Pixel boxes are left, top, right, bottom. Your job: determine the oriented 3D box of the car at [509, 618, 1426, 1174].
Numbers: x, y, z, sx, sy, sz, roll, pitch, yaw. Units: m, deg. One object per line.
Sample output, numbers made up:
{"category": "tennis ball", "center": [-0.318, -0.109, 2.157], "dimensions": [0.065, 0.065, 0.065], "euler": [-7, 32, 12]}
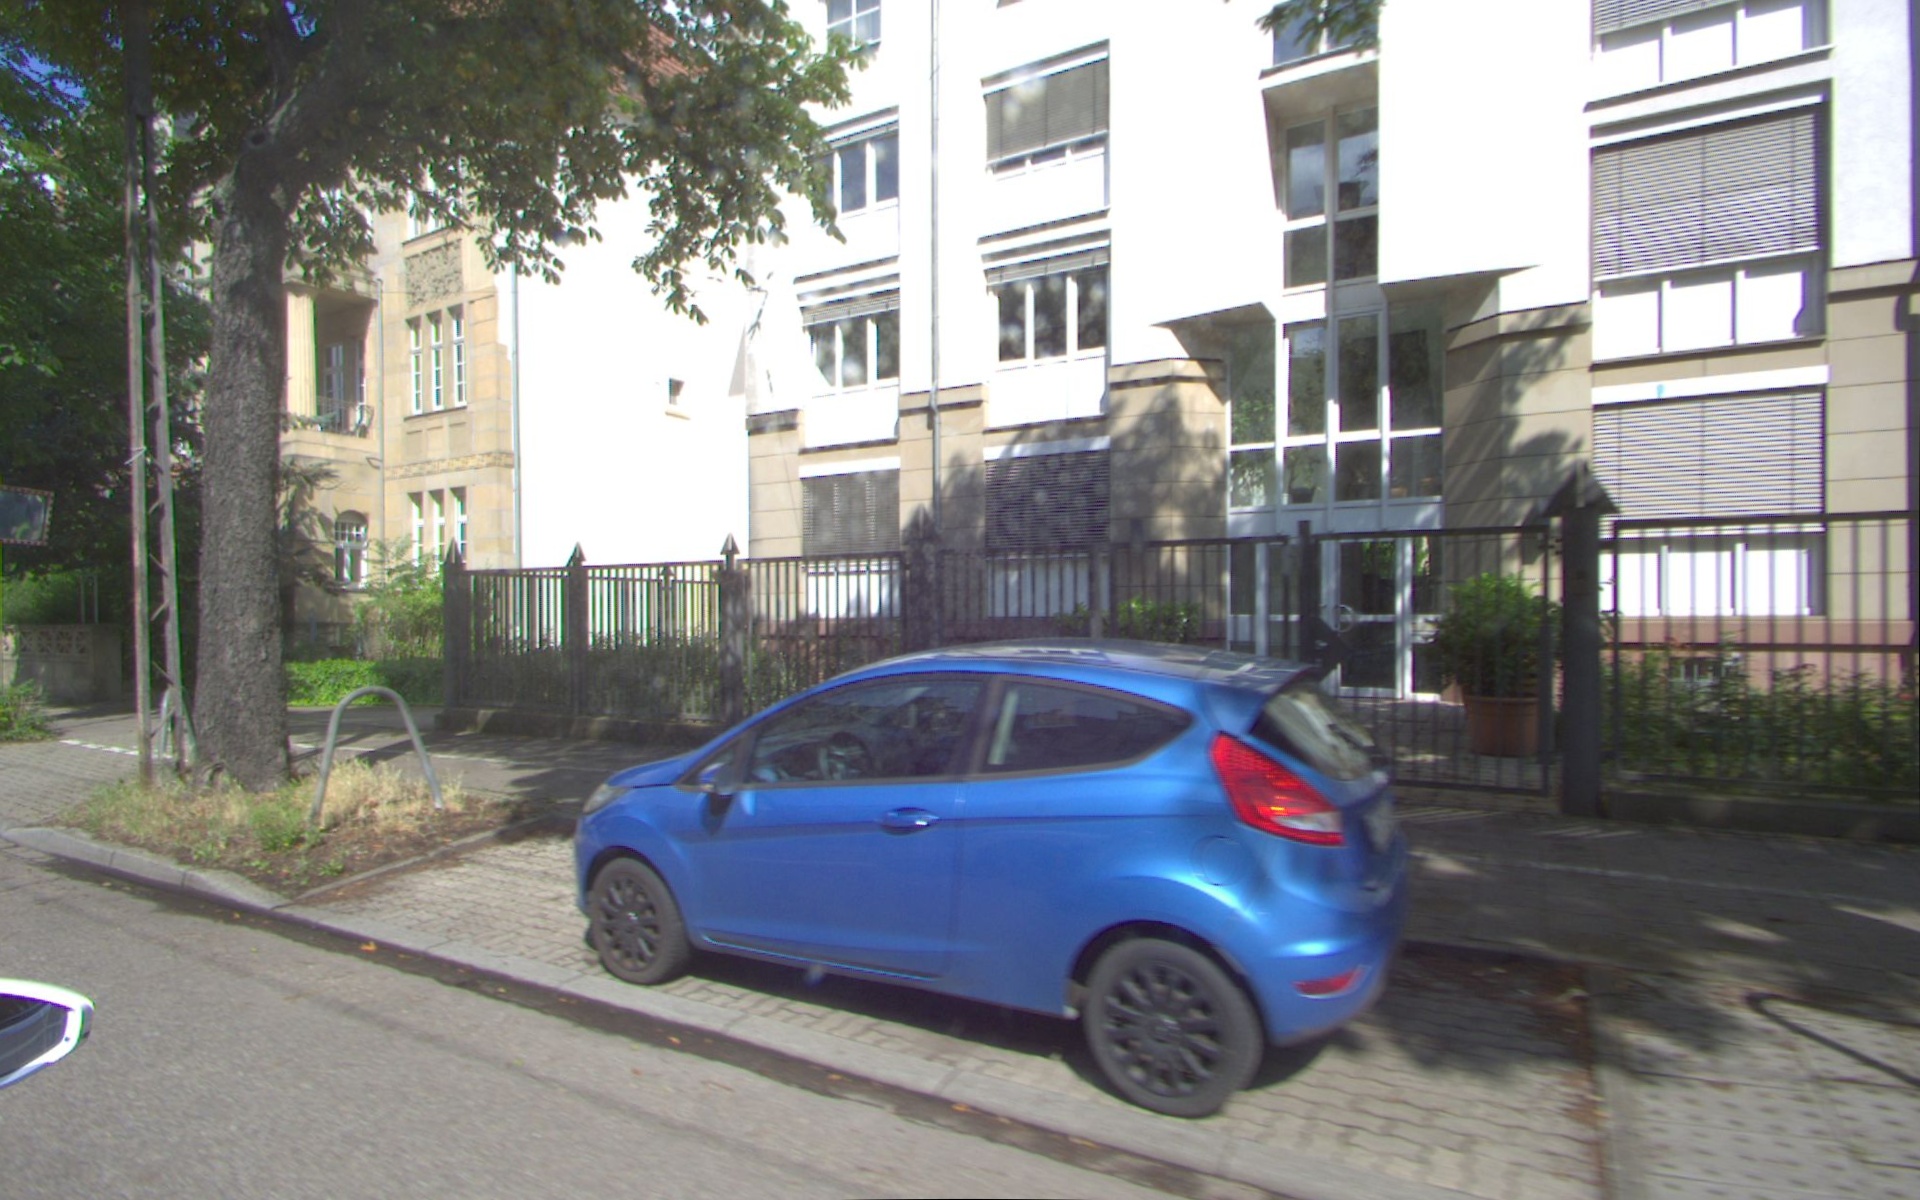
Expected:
{"category": "car", "center": [-0.069, 0.868, 4.471], "dimensions": [3.790, 1.516, 1.621], "euler": [-1, 1, 30]}
